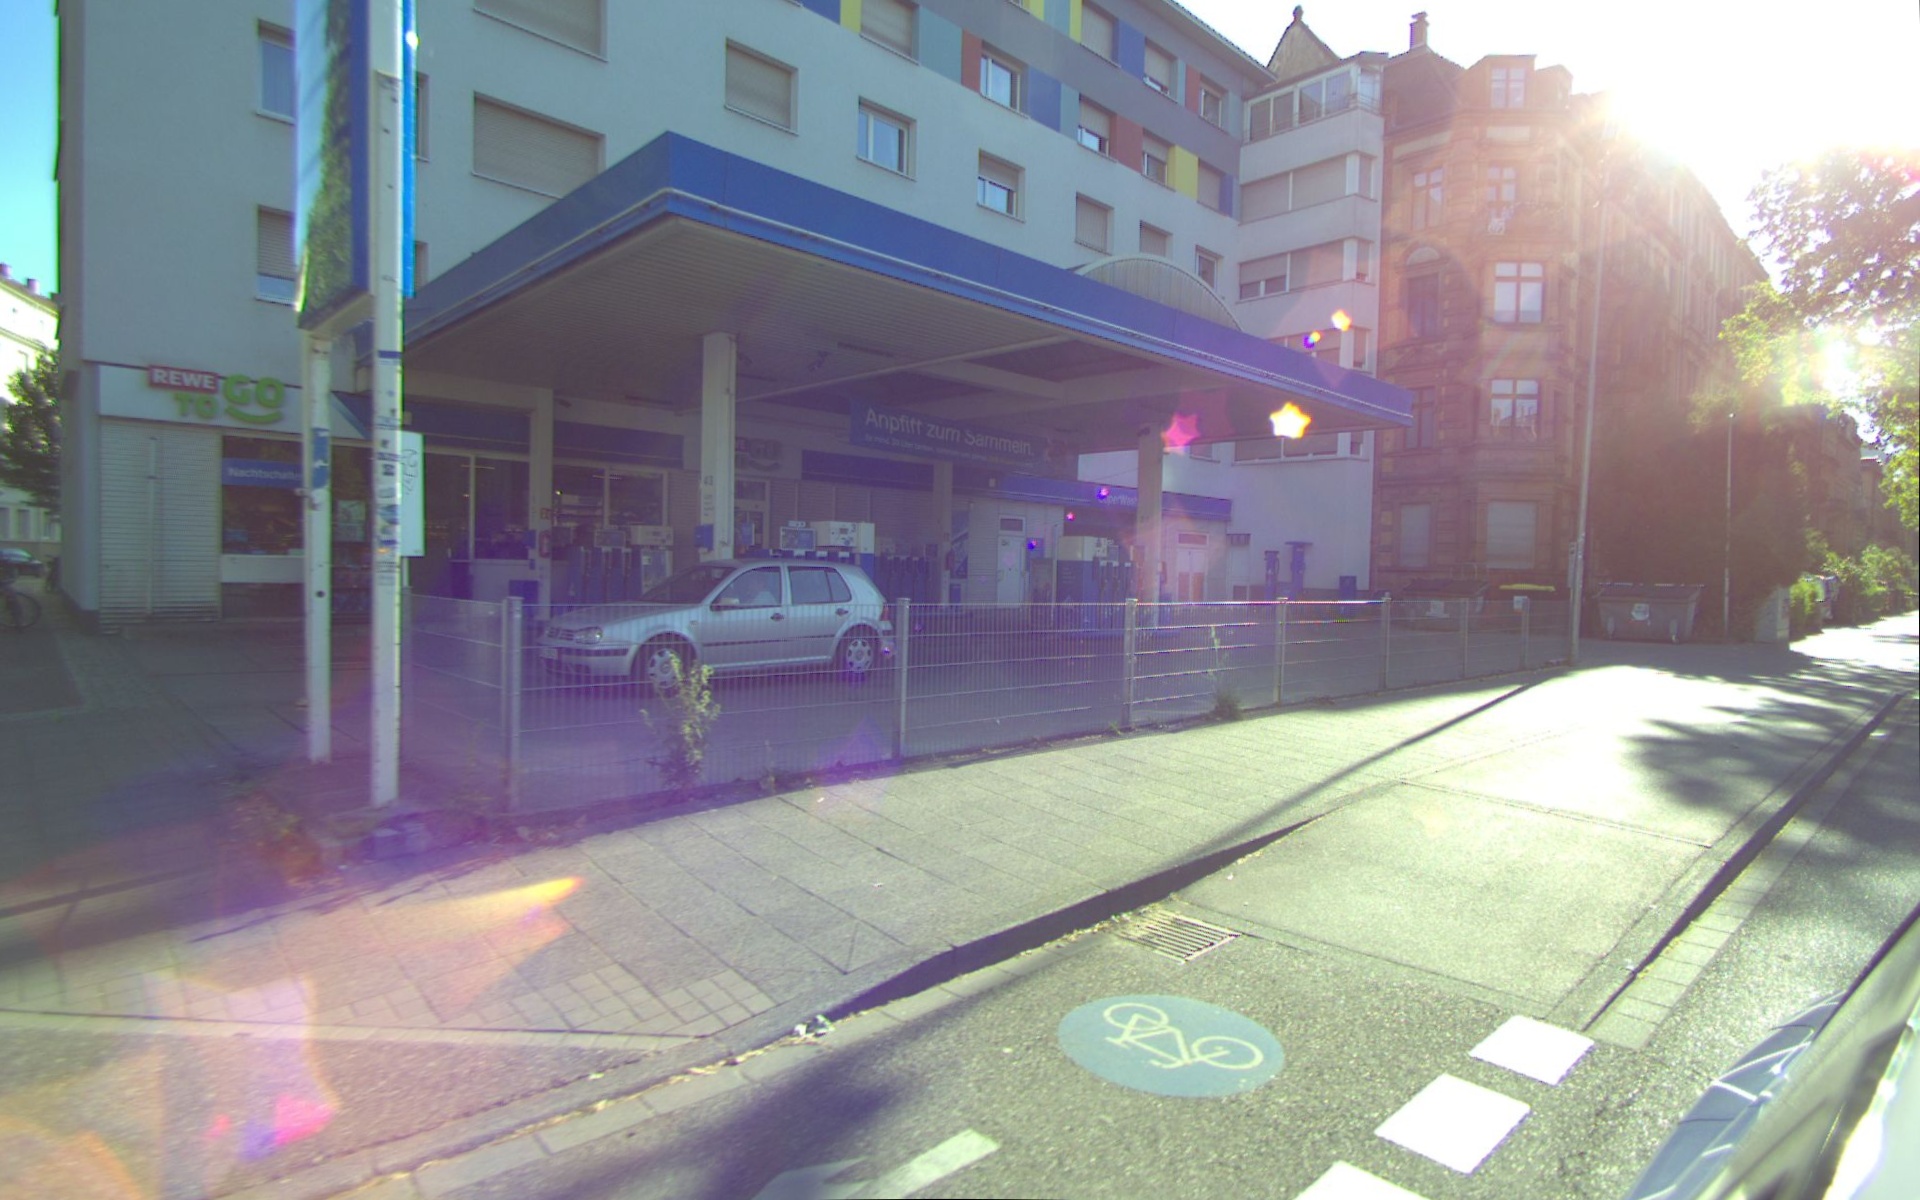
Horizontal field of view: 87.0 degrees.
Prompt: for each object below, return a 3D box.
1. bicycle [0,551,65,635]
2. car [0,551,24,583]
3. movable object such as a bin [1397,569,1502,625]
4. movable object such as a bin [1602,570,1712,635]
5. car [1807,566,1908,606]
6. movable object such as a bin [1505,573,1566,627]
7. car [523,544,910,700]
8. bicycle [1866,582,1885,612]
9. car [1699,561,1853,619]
[{"bbox_3d":[-14.821,-0.149,15.813,2.119,1.224,0.827,3,2,36],"label":"bicycle"},{"bbox_3d":[-47.758,-1.598,50.106,1.696,1.487,3.695,0,0,-37],"label":"car"},{"bbox_3d":[13.723,-0.113,28.387,2.208,1.441,1.750,3,2,43],"label":"movable object such as a bin"},{"bbox_3d":[17.397,0.020,25.264,2.035,1.509,1.719,3,2,43],"label":"movable object such as a bin"},{"bbox_3d":[52.316,-0.853,59.035,1.968,2.037,4.181,-1,5,-44],"label":"car"},{"bbox_3d":[15.650,-0.027,27.535,1.186,1.406,1.012,3,2,45],"label":"movable object such as a bin"},{"bbox_3d":[-2.598,0.149,11.456,4.031,1.448,1.569,-1,3,-44],"label":"car"},{"bbox_3d":[39.248,-0.119,43.384,1.735,1.266,0.338,0,0,-40],"label":"bicycle"},{"bbox_3d":[32.970,-0.472,40.990,1.882,2.038,4.580,-1,4,-43],"label":"car"}]
